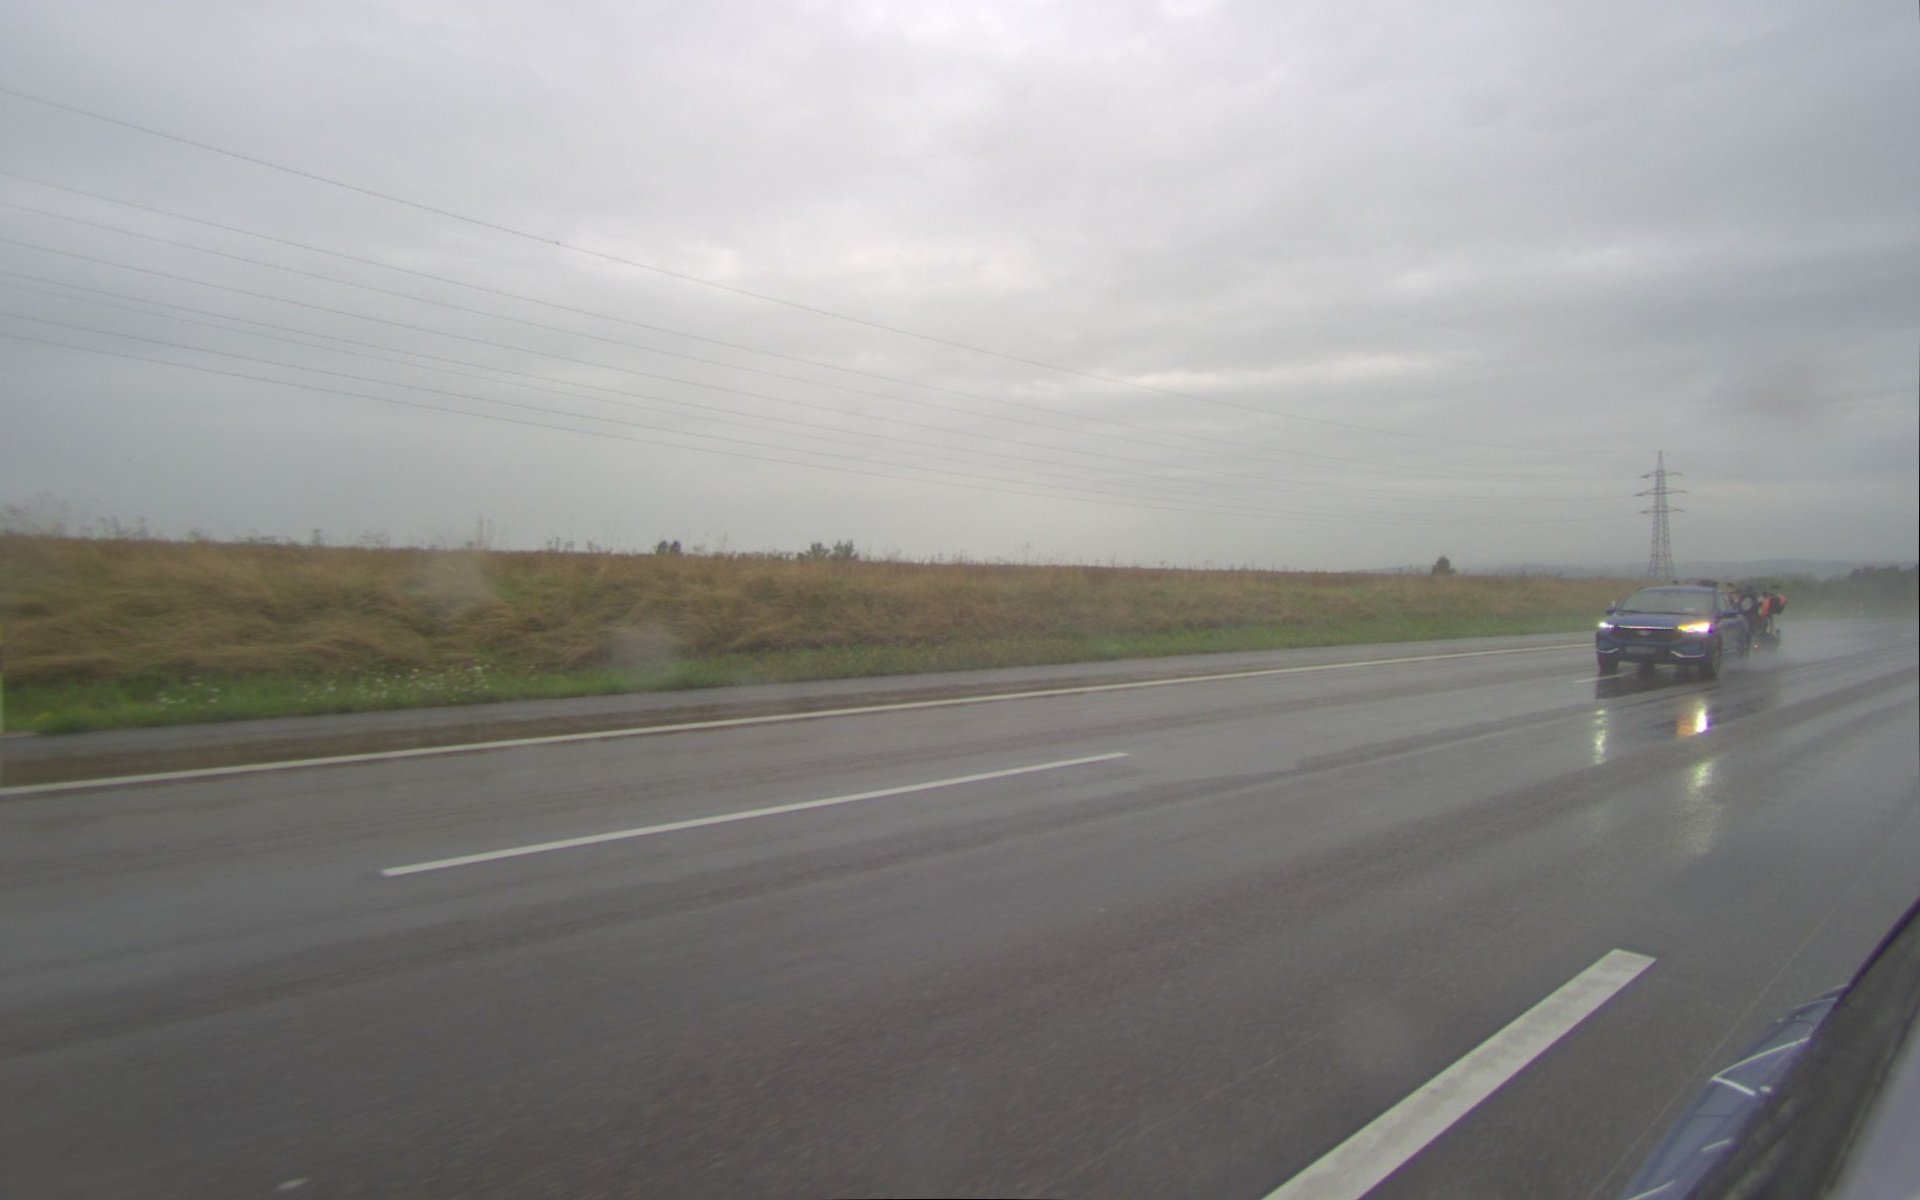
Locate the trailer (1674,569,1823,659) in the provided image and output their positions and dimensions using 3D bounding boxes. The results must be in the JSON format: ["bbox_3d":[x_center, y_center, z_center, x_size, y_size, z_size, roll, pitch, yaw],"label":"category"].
[{"bbox_3d":[17.408,0.253,22.322,3.132,1.807,1.983,0,1,-40],"label":"trailer"}]

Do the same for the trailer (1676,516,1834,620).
[{"bbox_3d":[17.284,-0.635,21.940,3.930,2.039,1.997,1,1,-41],"label":"trailer"}]

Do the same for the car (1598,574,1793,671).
[{"bbox_3d":[14.376,0.357,19.663,4.905,1.639,1.997,0,1,-41],"label":"car"}]
